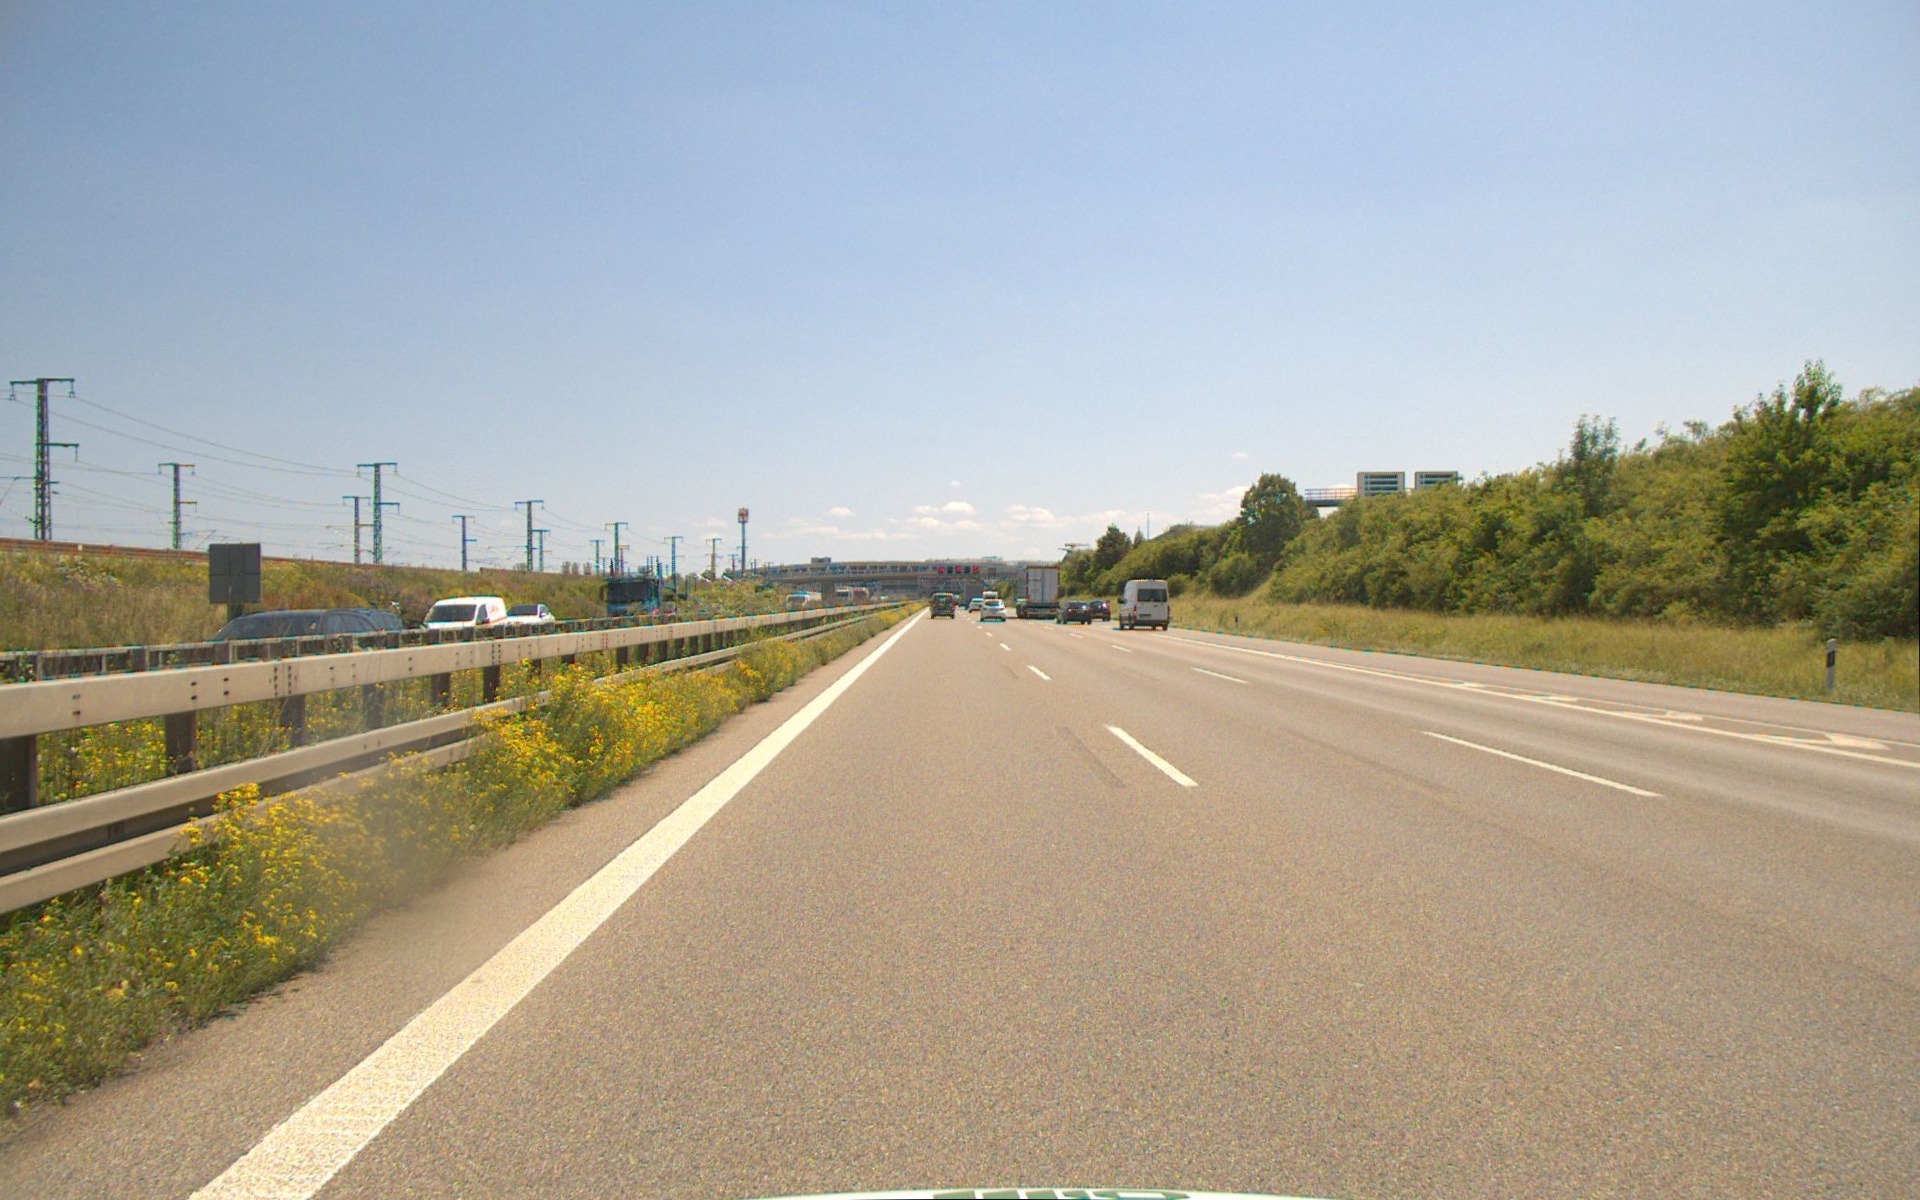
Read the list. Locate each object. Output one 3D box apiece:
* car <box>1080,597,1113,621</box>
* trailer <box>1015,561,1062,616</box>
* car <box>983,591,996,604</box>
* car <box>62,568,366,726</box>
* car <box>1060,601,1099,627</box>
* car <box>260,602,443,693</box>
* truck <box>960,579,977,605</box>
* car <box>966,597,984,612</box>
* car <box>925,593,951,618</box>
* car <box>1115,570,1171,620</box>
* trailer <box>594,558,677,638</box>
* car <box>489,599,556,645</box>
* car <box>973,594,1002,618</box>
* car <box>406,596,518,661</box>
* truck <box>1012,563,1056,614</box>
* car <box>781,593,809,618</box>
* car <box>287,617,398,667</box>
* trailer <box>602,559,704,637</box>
[{"bbox_3d":[10.018,0.680,121.377,1.953,1.624,3.998,2,-1,-1],"label":"car"},{"bbox_3d":[6.162,-0.911,130.783,3.112,4.130,9.438,-1,0,0],"label":"trailer"},{"bbox_3d":[4.672,-0.426,260.118,1.952,2.049,4.437,-1,0,1],"label":"car"},{"bbox_3d":[-9.016,0.520,20.396,1.953,1.750,3.999,0,0,-1],"label":"car"},{"bbox_3d":[7.523,0.880,104.563,1.954,1.534,3.997,2,-1,-3],"label":"car"},{"bbox_3d":[-12.364,0.903,34.028,1.881,1.639,5.394,-2,0,-2],"label":"car"},{"bbox_3d":[1.132,-1.090,224.089,2.307,3.476,6.056,0,0,0],"label":"truck"},{"bbox_3d":[1.629,0.464,177.756,1.842,1.553,4.000,1,-1,0],"label":"car"},{"bbox_3d":[-1.599,0.401,122.167,1.842,1.806,3.999,-1,-1,-1],"label":"car"},{"bbox_3d":[9.595,-0.260,87.066,2.228,2.572,5.398,0,0,-2],"label":"car"},{"bbox_3d":[-16.784,-0.114,85.981,2.989,3.935,7.202,0,0,-1],"label":"trailer"},{"bbox_3d":[-20.548,1.049,77.827,1.953,2.049,4.494,-2,-1,-1],"label":"car"},{"bbox_3d":[1.887,0.426,112.112,1.841,1.553,4.001,1,-1,2],"label":"car"},{"bbox_3d":[-15.319,0.828,51.136,1.881,1.832,5.195,-2,0,-1],"label":"car"},{"bbox_3d":[6.103,-0.937,138.239,3.112,4.130,9.438,-1,0,0],"label":"truck"},{"bbox_3d":[-13.742,0.449,137.905,1.953,2.049,5.430,0,0,-1],"label":"car"},{"bbox_3d":[-20.048,1.339,53.909,1.881,1.442,4.583,-2,0,-1],"label":"car"},{"bbox_3d":[-16.886,-0.131,92.267,2.989,3.935,15.973,0,0,-1],"label":"trailer"}]
